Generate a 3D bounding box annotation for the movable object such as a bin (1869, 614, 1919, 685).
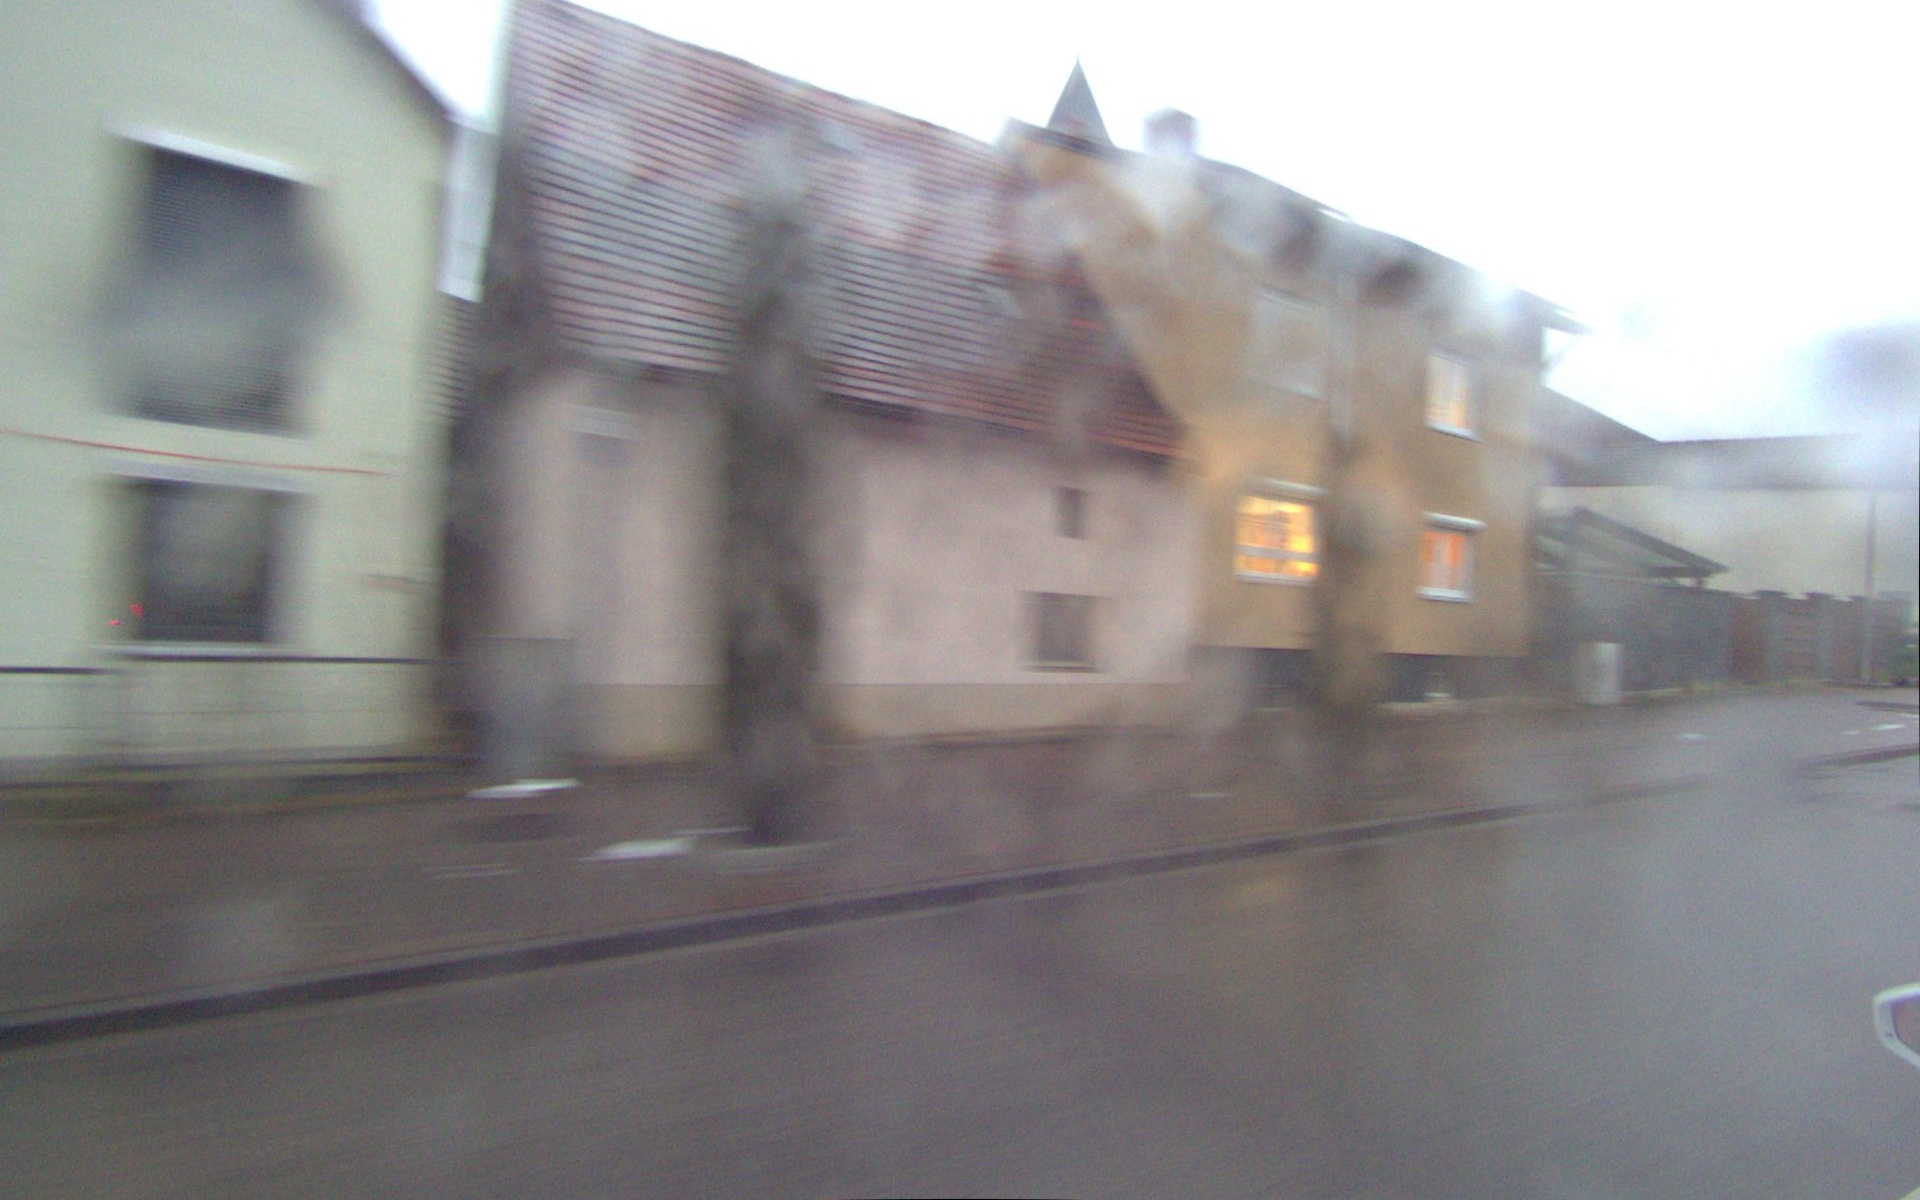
[{"bbox_3d":[21.652,1.109,22.875,1.274,1.564,1.090,1,-1,-31],"label":"movable object such as a bin"}]
